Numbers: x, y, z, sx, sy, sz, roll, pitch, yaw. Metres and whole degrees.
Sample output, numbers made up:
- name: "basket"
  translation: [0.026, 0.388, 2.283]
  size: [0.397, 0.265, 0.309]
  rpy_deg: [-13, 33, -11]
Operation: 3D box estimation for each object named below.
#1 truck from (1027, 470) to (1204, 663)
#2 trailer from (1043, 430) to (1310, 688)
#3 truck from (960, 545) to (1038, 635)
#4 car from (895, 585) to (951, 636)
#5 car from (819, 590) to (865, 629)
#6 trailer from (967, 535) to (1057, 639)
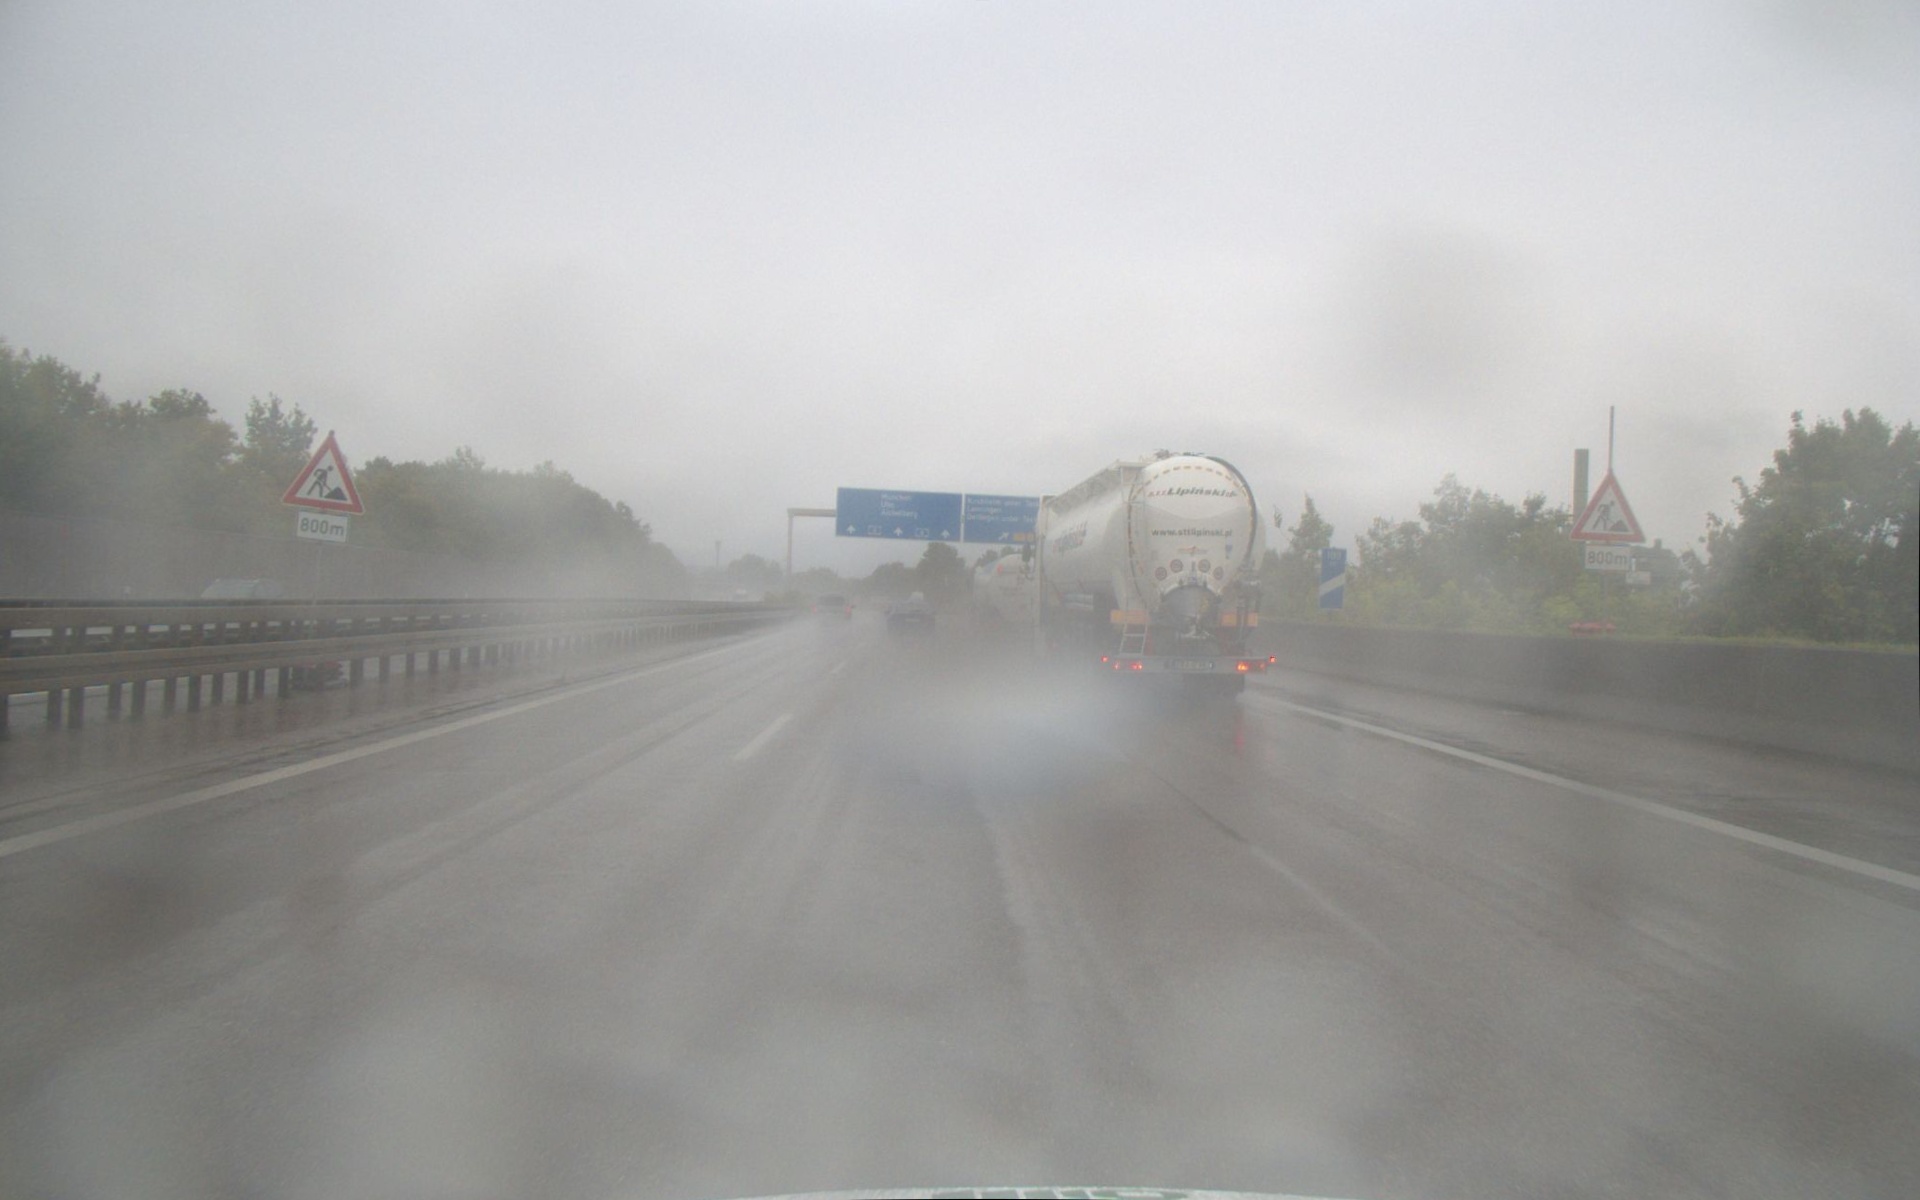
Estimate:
- name: "truck"
  translation: [3.327, -0.697, 37.405]
  size: [3.042, 3.873, 7.209]
  rpy_deg: [1, 0, -2]
- name: "trailer"
  translation: [3.505, -0.630, 30.297]
  size: [3.124, 3.734, 11.664]
  rpy_deg: [1, 0, -1]
- name: "truck"
  translation: [1.640, -0.429, 73.003]
  size: [2.885, 3.749, 6.357]
  rpy_deg: [1, 0, -3]
- name: "car"
  translation: [-1.364, 0.363, 60.150]
  size: [1.938, 1.787, 4.480]
  rpy_deg: [1, 0, -2]
- name: "car"
  translation: [-5.529, 0.431, 77.692]
  size: [1.886, 1.771, 4.403]
  rpy_deg: [1, 0, -1]
- name: "trailer"
  translation: [2.011, -0.502, 67.937]
  size: [2.945, 3.915, 8.618]
  rpy_deg: [1, 0, -3]
